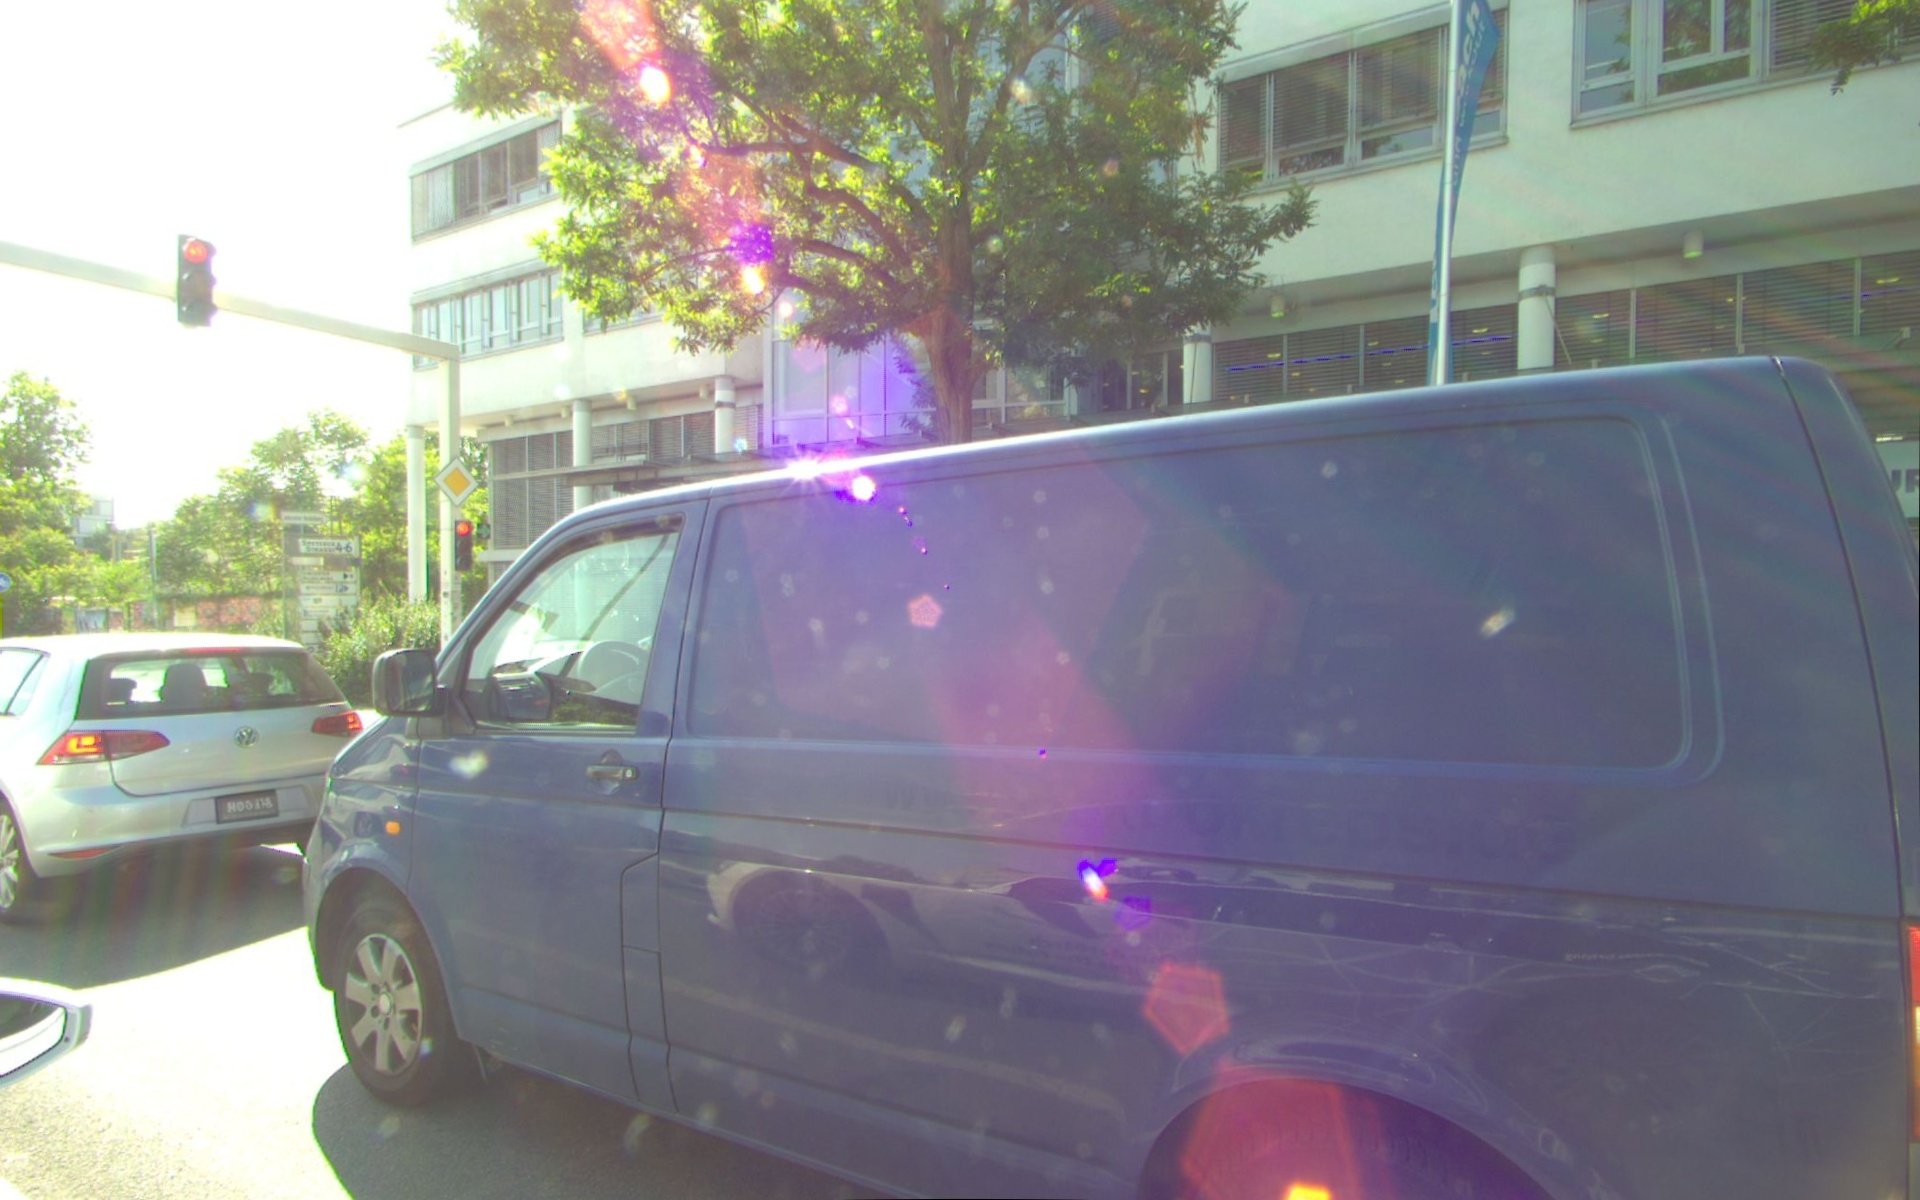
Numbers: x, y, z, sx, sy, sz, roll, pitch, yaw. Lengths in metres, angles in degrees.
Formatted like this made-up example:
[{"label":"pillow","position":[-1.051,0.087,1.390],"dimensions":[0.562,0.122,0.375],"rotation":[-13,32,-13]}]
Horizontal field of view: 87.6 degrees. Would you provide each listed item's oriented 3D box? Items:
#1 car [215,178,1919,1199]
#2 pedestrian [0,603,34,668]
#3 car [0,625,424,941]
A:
[{"label":"car","position":[-0.109,0.537,3.160],"dimensions":[4.821,1.973,1.989],"rotation":[-1,-1,32]},{"label":"pedestrian","position":[-30.231,1.109,31.740],"dimensions":[1.023,2.040,1.025],"rotation":[0,0,32]},{"label":"car","position":[-5.496,0.919,6.474],"dimensions":[3.941,1.448,1.804],"rotation":[-1,-1,31]}]
